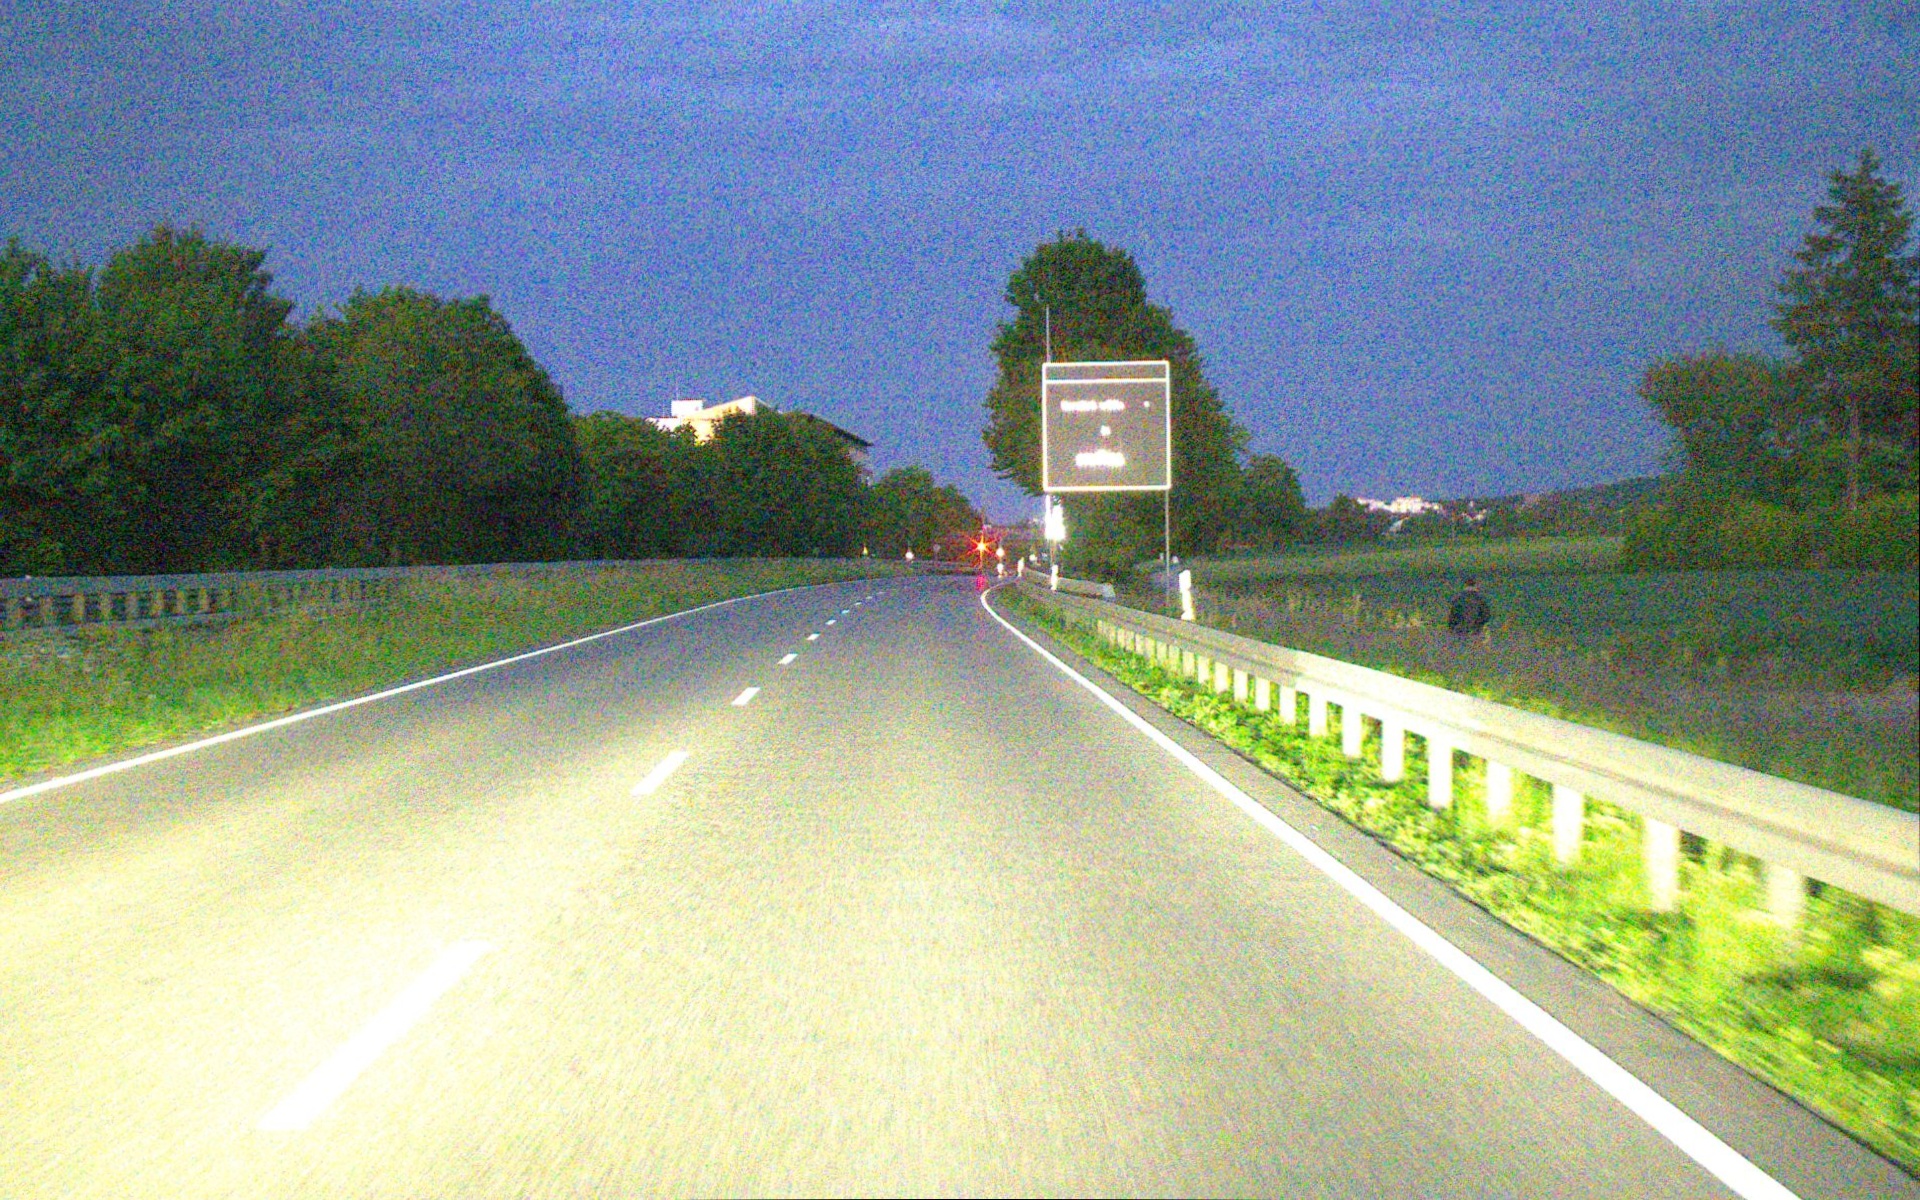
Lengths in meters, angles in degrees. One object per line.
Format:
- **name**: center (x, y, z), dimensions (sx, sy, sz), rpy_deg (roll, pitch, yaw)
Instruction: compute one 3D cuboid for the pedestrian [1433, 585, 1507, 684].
- **pedestrian**: center (8.614, 0.568, 58.109), dimensions (1.062, 1.637, 1.118), rpy_deg (1, 1, 0)
